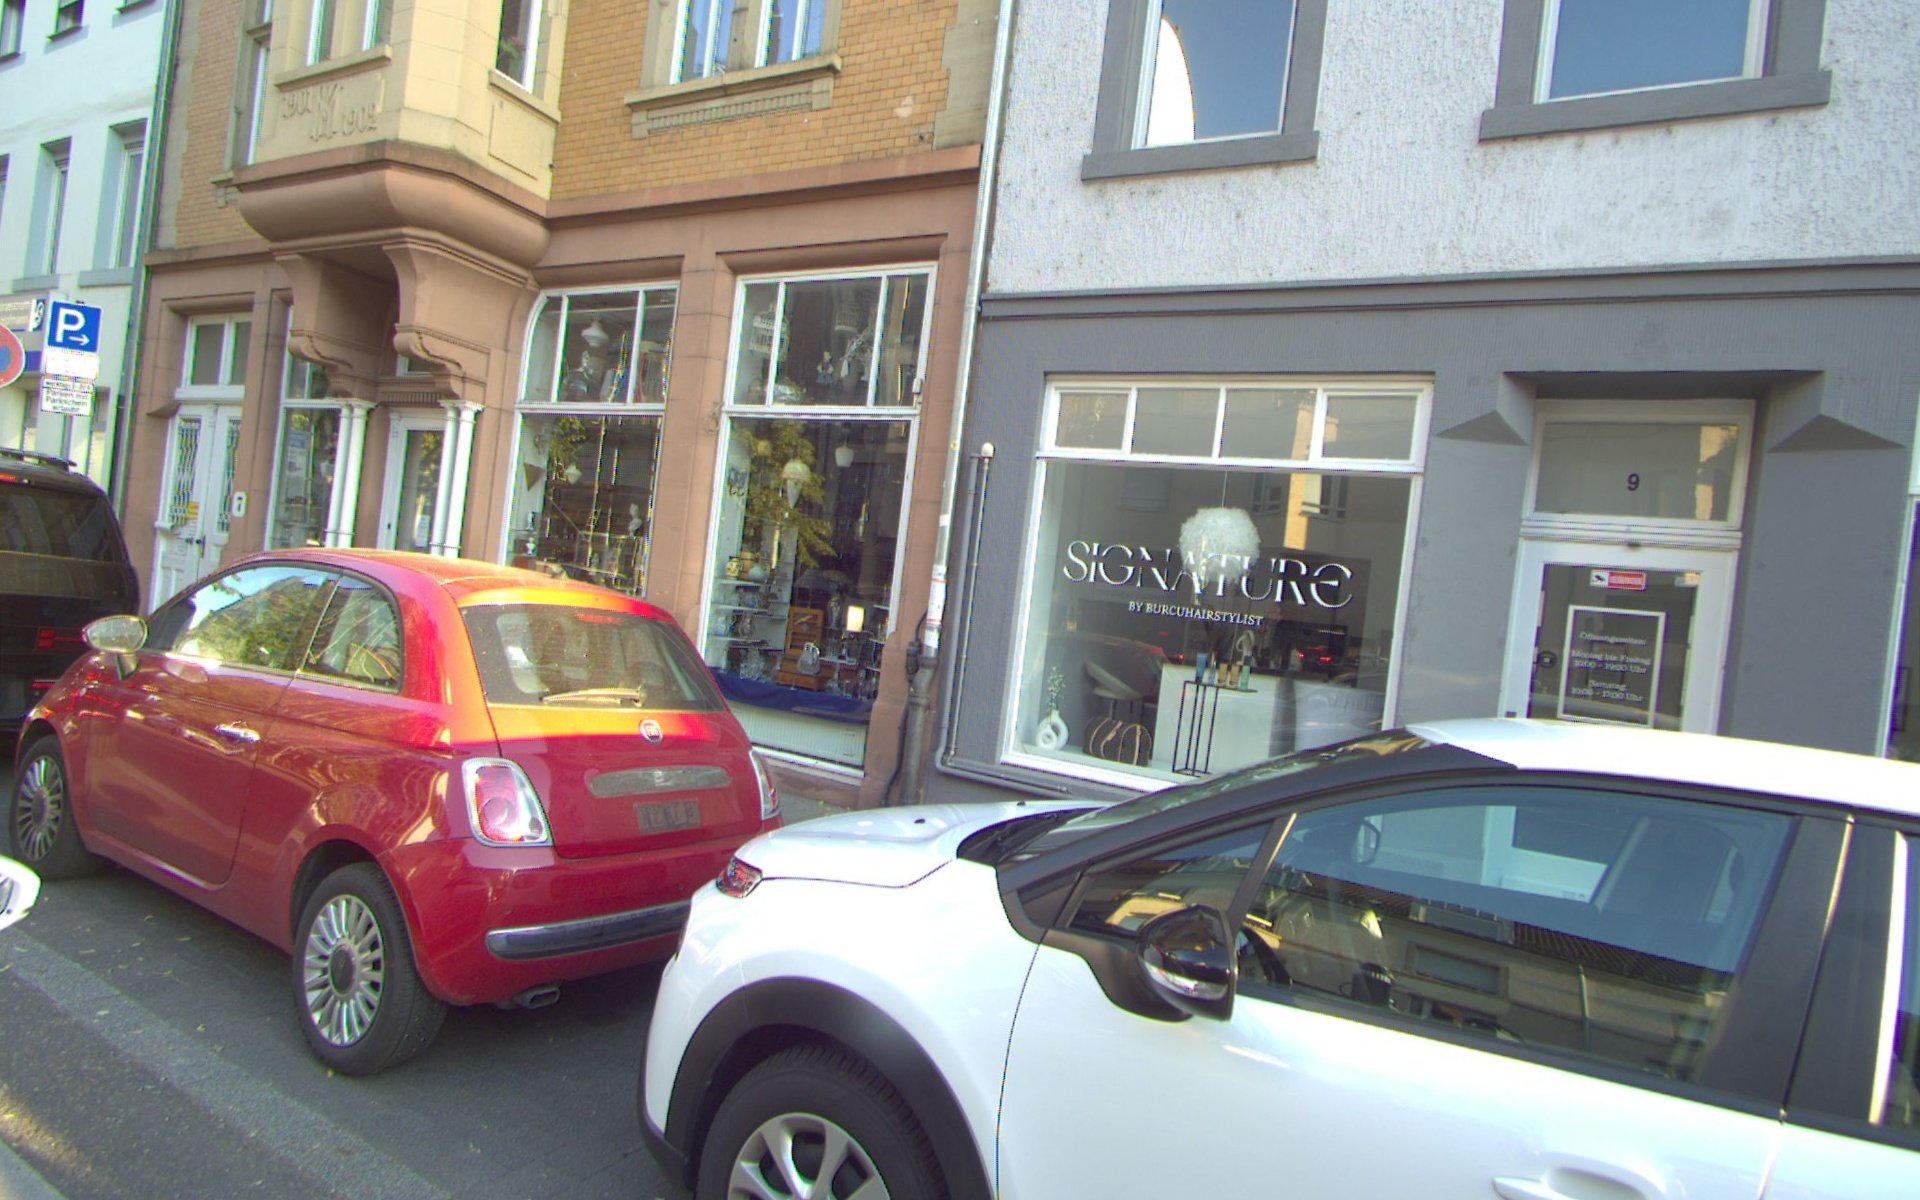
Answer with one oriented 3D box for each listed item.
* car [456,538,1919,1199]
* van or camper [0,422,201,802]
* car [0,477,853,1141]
[{"bbox_3d":[0.972,0.911,2.152,3.868,1.591,1.666,6,-2,30],"label":"car"},{"bbox_3d":[-6.668,-0.175,5.578,4.380,1.829,1.895,7,-1,24],"label":"van or camper"},{"bbox_3d":[-2.325,0.501,4.092,3.364,1.588,1.529,7,-1,31],"label":"car"}]
